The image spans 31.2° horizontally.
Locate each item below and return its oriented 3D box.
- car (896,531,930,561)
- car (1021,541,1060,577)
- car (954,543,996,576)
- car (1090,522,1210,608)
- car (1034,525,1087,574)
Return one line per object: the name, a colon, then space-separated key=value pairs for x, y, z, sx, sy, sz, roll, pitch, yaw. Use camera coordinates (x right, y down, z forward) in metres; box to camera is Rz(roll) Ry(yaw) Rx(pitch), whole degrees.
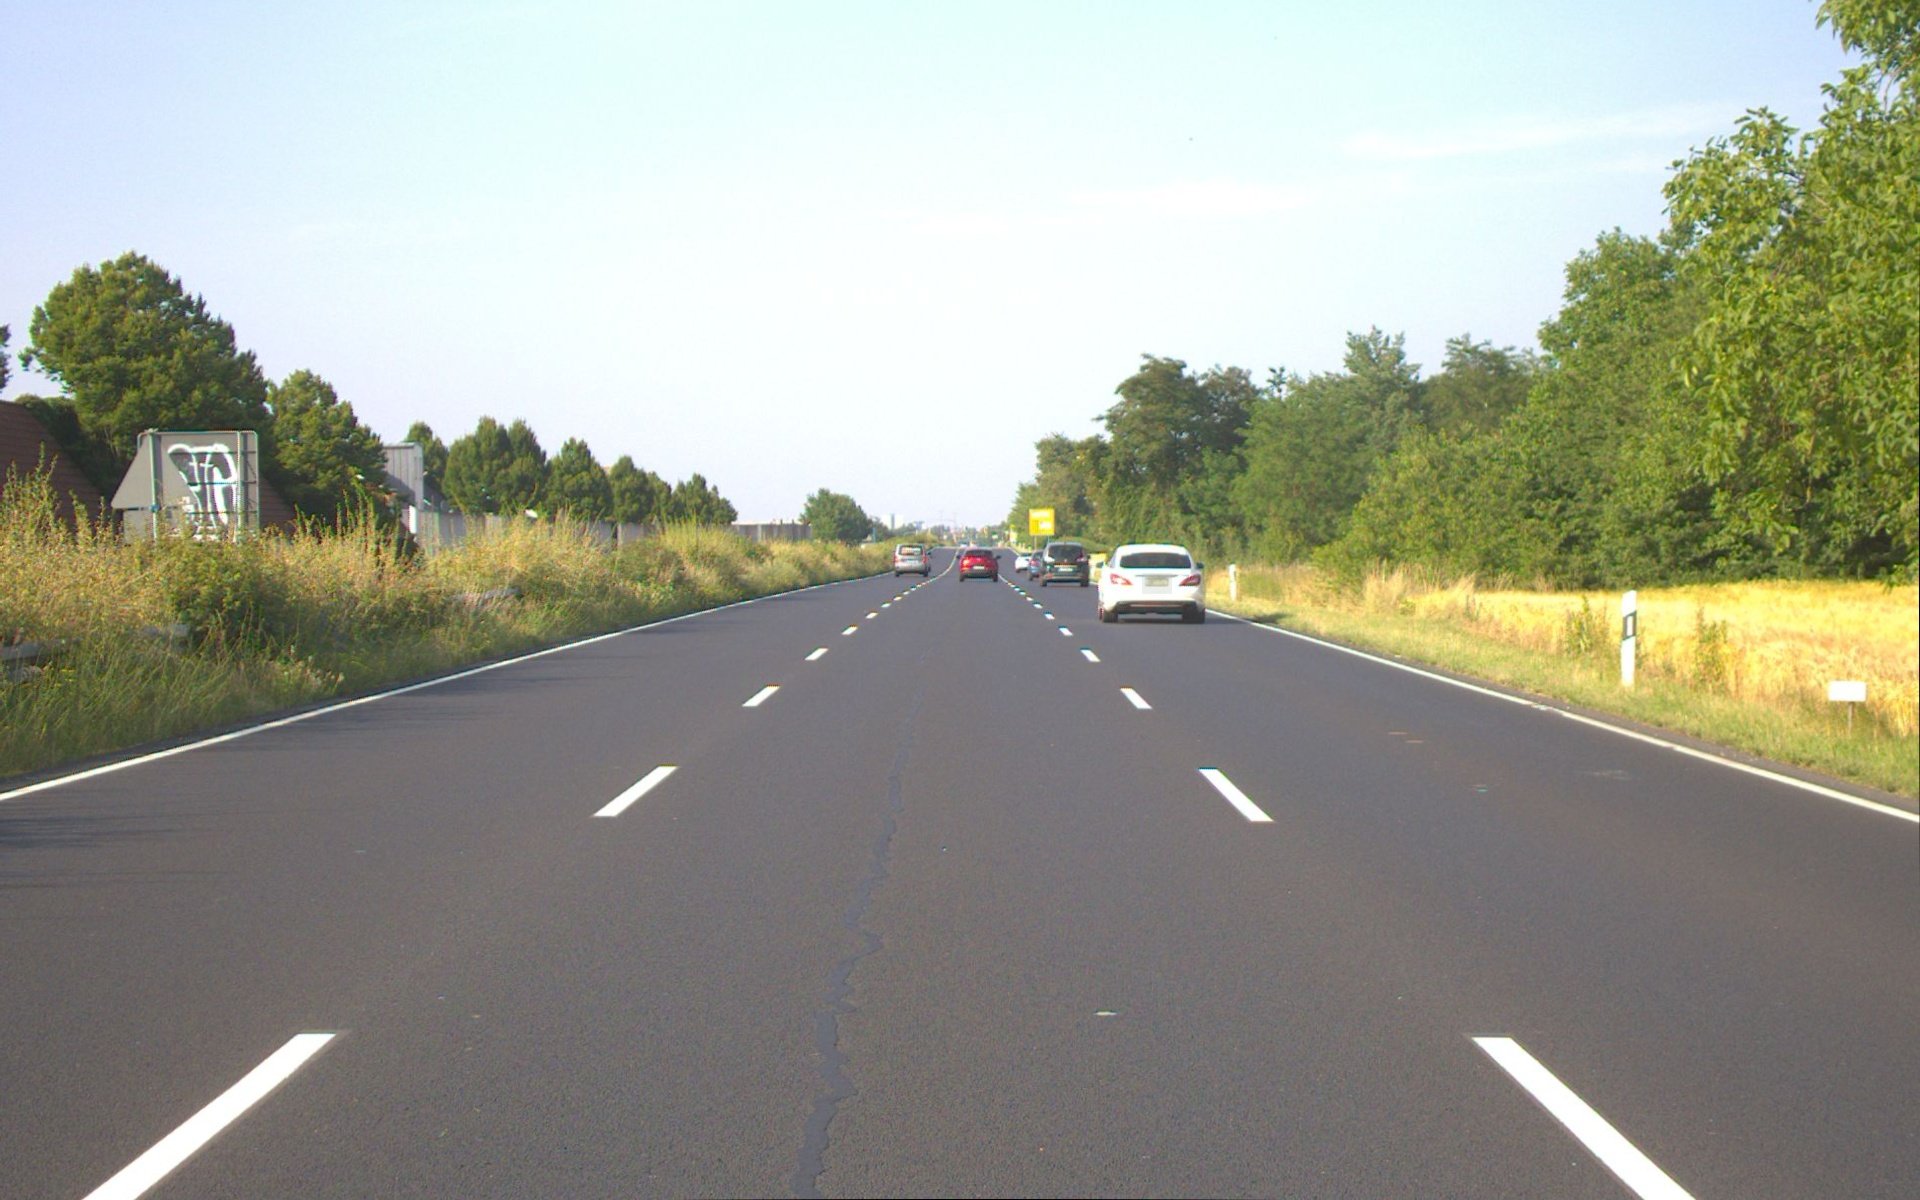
car: x=-2.658 y=-3.063 z=194.755 sx=1.758 sy=1.612 sz=4.000 roll=1 pitch=0 yaw=2
car: x=3.904 y=-1.986 z=166.996 sx=1.834 sy=1.711 sz=3.862 roll=1 pitch=0 yaw=0
car: x=0.680 y=-1.831 z=154.997 sx=1.812 sy=1.431 sz=3.858 roll=1 pitch=0 yaw=-1
car: x=3.473 y=-0.633 z=63.469 sx=1.993 sy=1.511 sz=4.000 roll=1 pitch=0 yaw=0
car: x=3.708 y=-1.855 z=127.209 sx=1.828 sy=1.722 sz=4.000 roll=1 pitch=0 yaw=0
